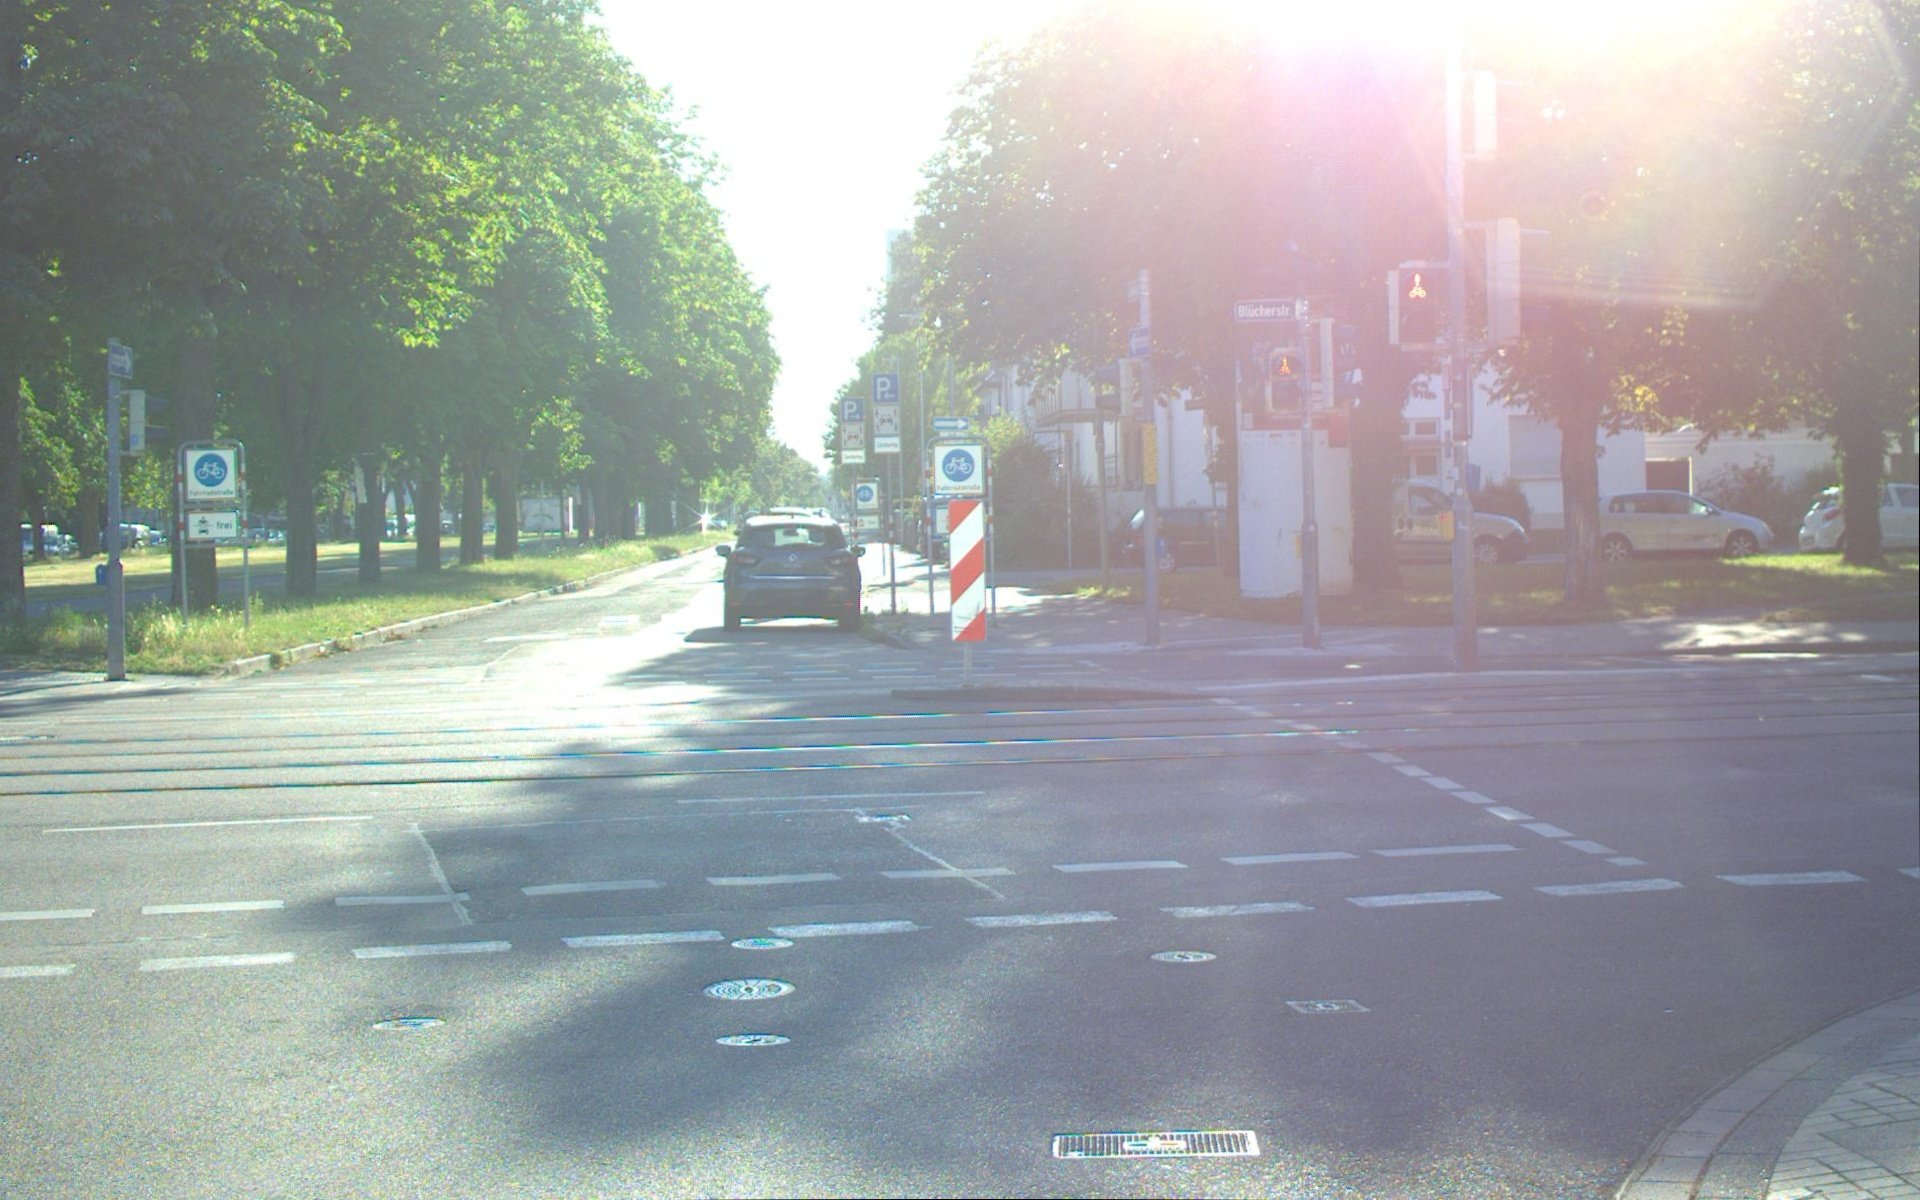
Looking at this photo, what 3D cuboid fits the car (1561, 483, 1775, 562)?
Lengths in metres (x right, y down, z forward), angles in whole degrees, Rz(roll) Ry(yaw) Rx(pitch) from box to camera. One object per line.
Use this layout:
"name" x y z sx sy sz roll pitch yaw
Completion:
"car" 13.418 -1.475 65.244 3.662 1.422 1.532 -1 1 -6

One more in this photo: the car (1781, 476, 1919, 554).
"car" 17.919 -1.651 66.015 3.844 1.422 1.598 -1 1 -6

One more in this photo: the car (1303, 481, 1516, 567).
"car" 8.514 -1.459 65.299 3.779 1.520 1.744 -1 3 -2

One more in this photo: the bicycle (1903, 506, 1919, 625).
"bicycle" 10.076 -0.355 32.844 1.954 1.128 0.620 -1 1 1

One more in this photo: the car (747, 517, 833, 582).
"car" -3.821 -1.166 77.861 1.845 1.389 3.829 -1 2 -1

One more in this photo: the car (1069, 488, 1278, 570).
"car" 4.007 -1.352 64.973 3.779 1.422 1.744 -1 3 -2

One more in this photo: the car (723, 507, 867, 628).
"car" -2.073 -0.442 43.872 1.641 1.446 3.307 -1 2 0
